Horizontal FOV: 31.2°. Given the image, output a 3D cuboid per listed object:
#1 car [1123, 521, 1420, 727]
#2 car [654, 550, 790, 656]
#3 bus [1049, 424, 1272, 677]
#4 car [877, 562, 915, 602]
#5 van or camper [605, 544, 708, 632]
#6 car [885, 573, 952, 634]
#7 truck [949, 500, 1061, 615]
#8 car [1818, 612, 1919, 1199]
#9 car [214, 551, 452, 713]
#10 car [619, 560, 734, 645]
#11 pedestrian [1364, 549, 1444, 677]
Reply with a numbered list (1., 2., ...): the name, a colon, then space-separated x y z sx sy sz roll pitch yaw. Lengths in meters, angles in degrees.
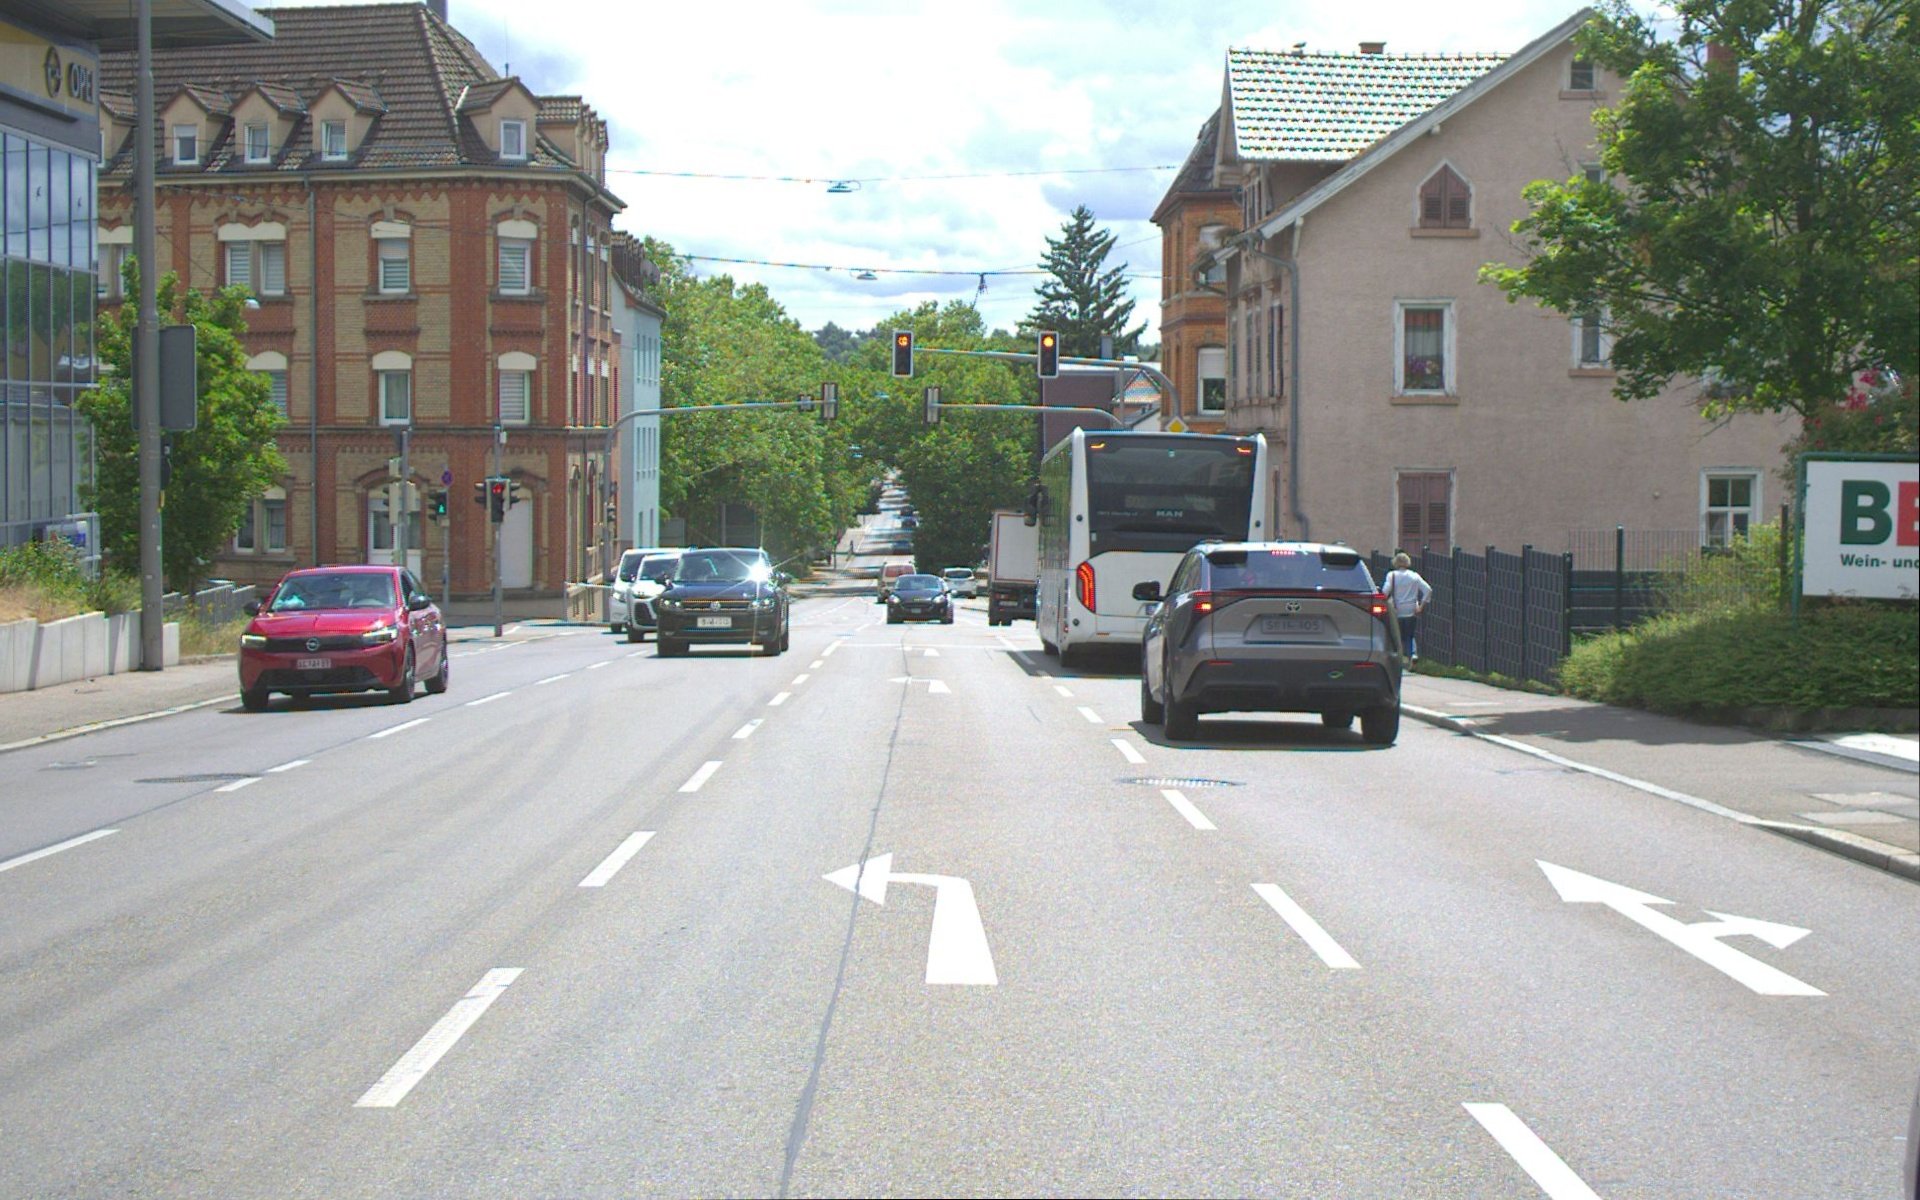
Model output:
1. car: 2.498 0.232 28.540 1.930 1.578 4.208 0 -1 -2
2. car: -3.581 0.014 52.308 1.864 1.535 4.107 0 1 -1
3. bus: 2.728 -0.943 50.114 2.802 3.186 12.197 0 3 1
4. car: -3.188 -0.924 171.298 1.832 1.875 4.001 -1 2 -2
5. van or camper: -6.835 -0.304 77.949 1.970 1.908 5.129 0 1 -1
6. car: -1.197 0.089 98.462 1.864 1.660 4.259 0 1 -1
7. truck: 1.208 -1.221 98.186 2.666 3.097 9.036 -1 1 -2
8. car: 2.553 0.810 4.226 1.930 1.372 4.209 0 3 0
9. car: -6.446 0.286 35.733 1.871 1.486 3.849 -3 1 -3
10. car: -5.341 0.027 65.208 1.864 1.535 4.107 0 1 0
11. pedestrian: 5.634 0.159 43.687 0.813 1.576 1.069 -2 1 -1
